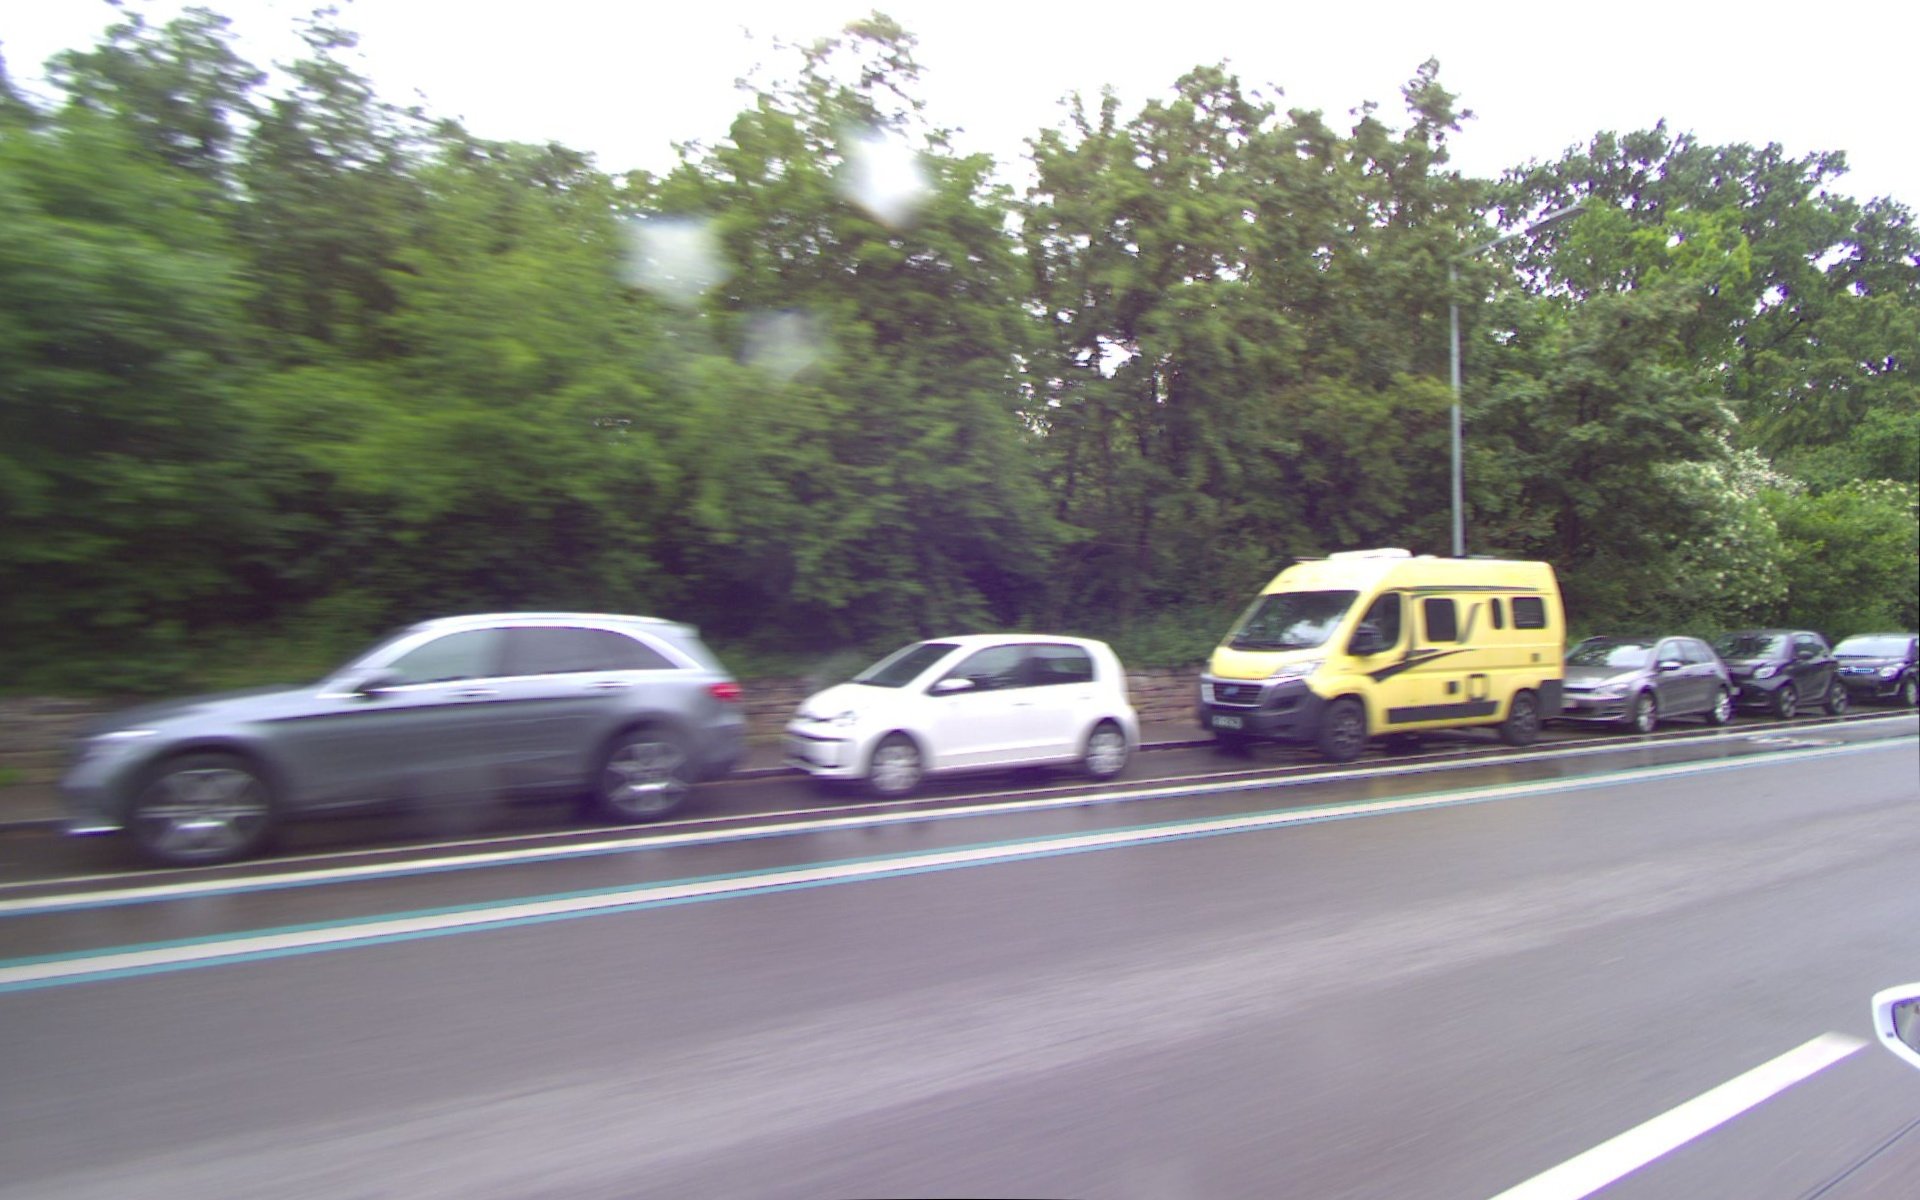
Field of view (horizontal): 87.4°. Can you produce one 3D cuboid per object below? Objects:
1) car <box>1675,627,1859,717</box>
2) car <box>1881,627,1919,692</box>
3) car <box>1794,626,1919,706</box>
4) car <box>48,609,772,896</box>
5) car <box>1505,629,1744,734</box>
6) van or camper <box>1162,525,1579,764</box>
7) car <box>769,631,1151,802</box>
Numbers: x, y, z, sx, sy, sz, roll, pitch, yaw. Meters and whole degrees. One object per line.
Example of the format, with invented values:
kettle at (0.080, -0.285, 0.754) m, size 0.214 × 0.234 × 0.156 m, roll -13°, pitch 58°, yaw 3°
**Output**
car at (14.995, 1.273, 18.665) m, size 3.099 × 1.530 × 1.596 m, roll 1°, pitch -1°, yaw -28°
car at (23.676, 1.370, 23.438) m, size 4.086 × 1.471 × 1.986 m, roll 1°, pitch -1°, yaw -28°
car at (19.582, 1.334, 21.286) m, size 3.927 × 1.530 × 1.596 m, roll 1°, pitch -1°, yaw -28°
car at (-4.021, 0.964, 8.080) m, size 4.562 × 1.723 × 1.983 m, roll 1°, pitch -1°, yaw -31°
car at (10.831, 1.233, 16.311) m, size 4.102 × 1.518 × 1.671 m, roll 1°, pitch -2°, yaw -32°
van or camper at (5.585, 0.550, 13.478) m, size 5.612 × 2.662 × 2.135 m, roll 1°, pitch -1°, yaw -29°
car at (0.025, 1.068, 10.306) m, size 3.612 × 1.467 × 1.611 m, roll 1°, pitch -2°, yaw -29°
